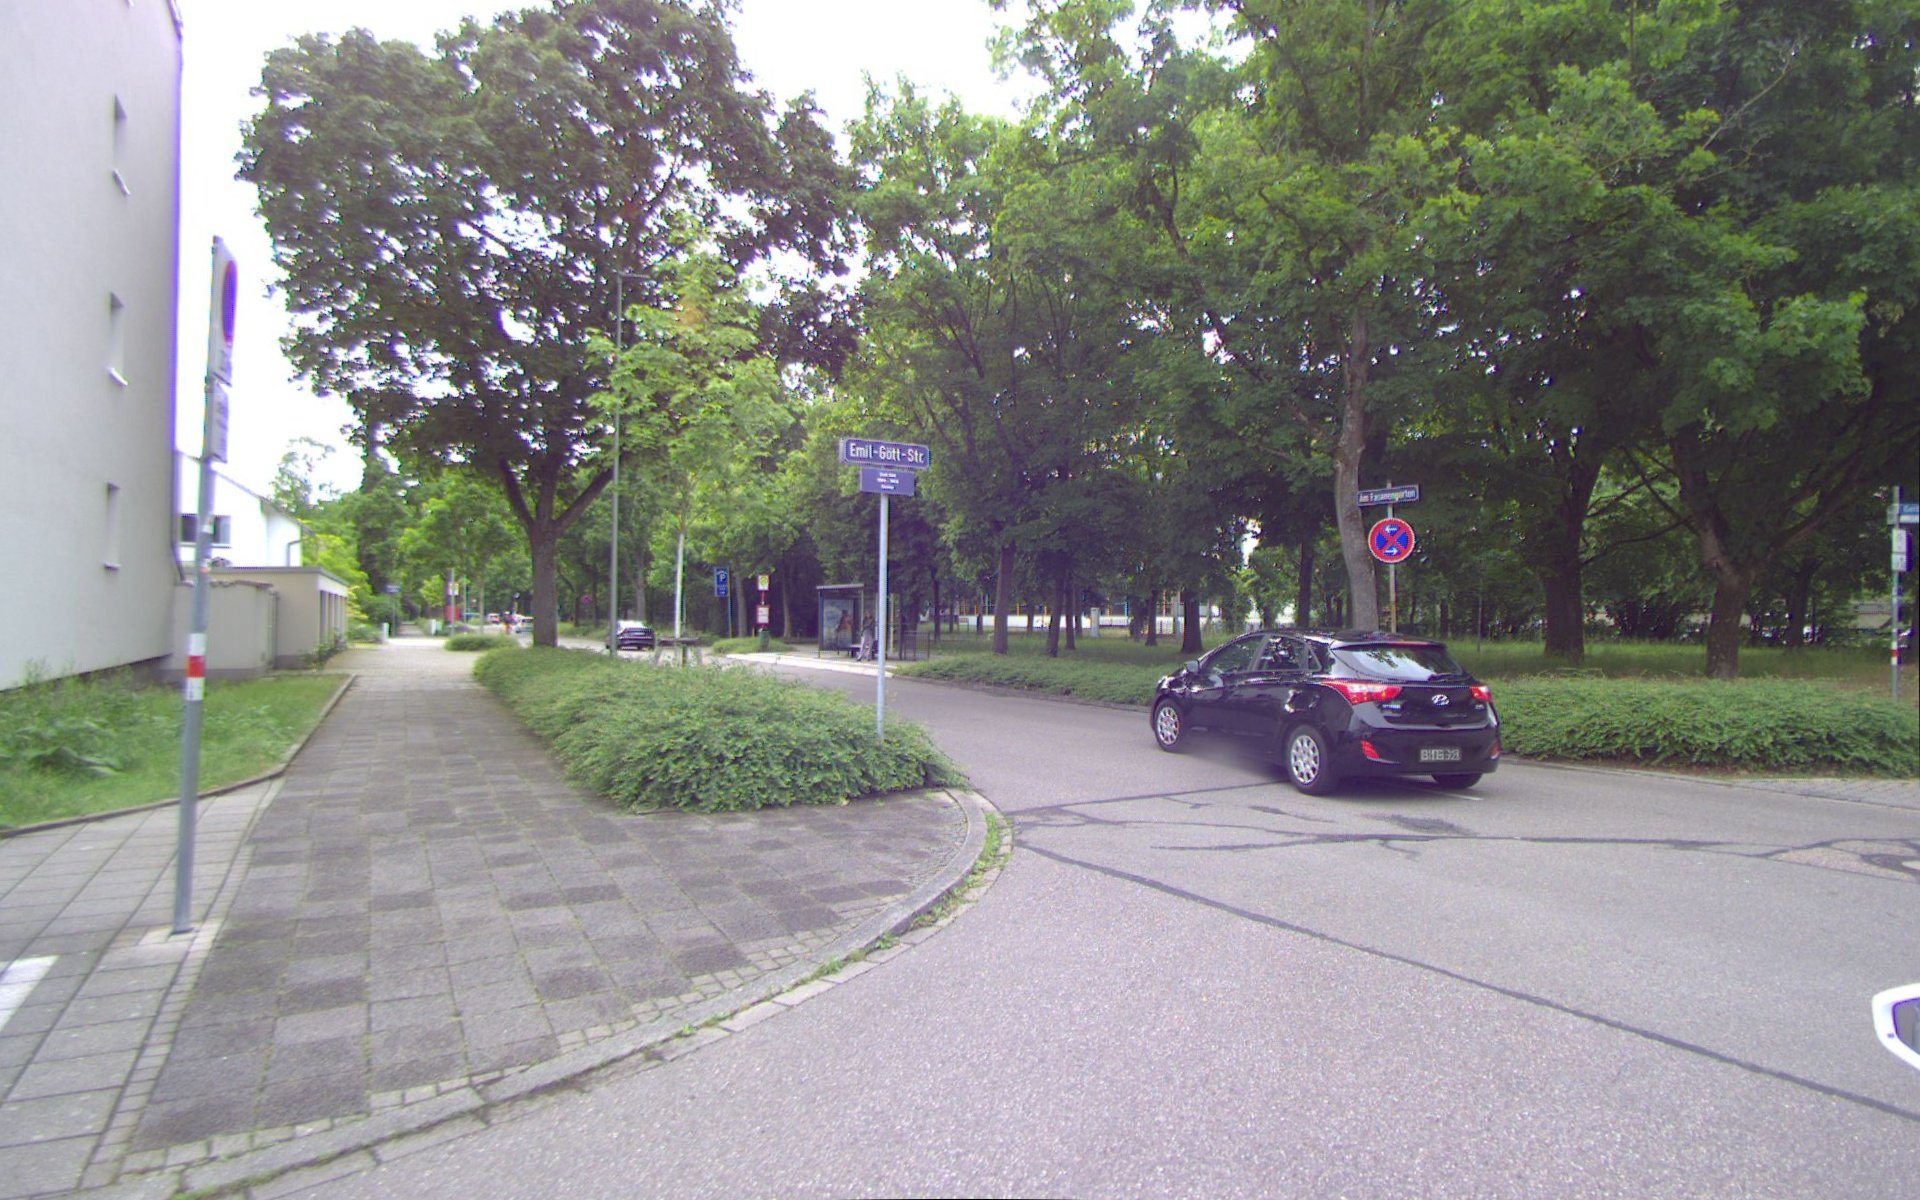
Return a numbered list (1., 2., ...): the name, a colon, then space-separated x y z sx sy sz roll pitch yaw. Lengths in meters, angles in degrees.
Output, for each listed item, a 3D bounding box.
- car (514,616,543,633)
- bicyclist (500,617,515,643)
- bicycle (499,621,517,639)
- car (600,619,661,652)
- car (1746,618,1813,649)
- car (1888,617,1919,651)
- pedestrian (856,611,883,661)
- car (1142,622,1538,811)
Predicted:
1. car: -39.073 2.217 90.977 1.884 1.506 3.967 1 -1 -31
2. bicyclist: -26.818 1.759 59.509 0.777 1.489 0.930 0 0 -29
3. bicycle: -26.777 1.775 59.451 0.787 1.039 2.545 0 -1 -28
4. car: -15.746 1.653 47.931 1.850 1.482 4.081 1 -1 -32
5. car: 45.306 1.828 55.516 3.960 1.639 1.905 1 -1 -35
6. car: 48.045 1.687 49.969 3.960 1.639 1.981 1 -1 -35
7. pedestrian: -2.959 1.176 32.751 0.648 1.604 0.693 0 0 -29
8. car: 3.543 0.993 10.170 1.822 1.482 3.814 1 -1 -17
